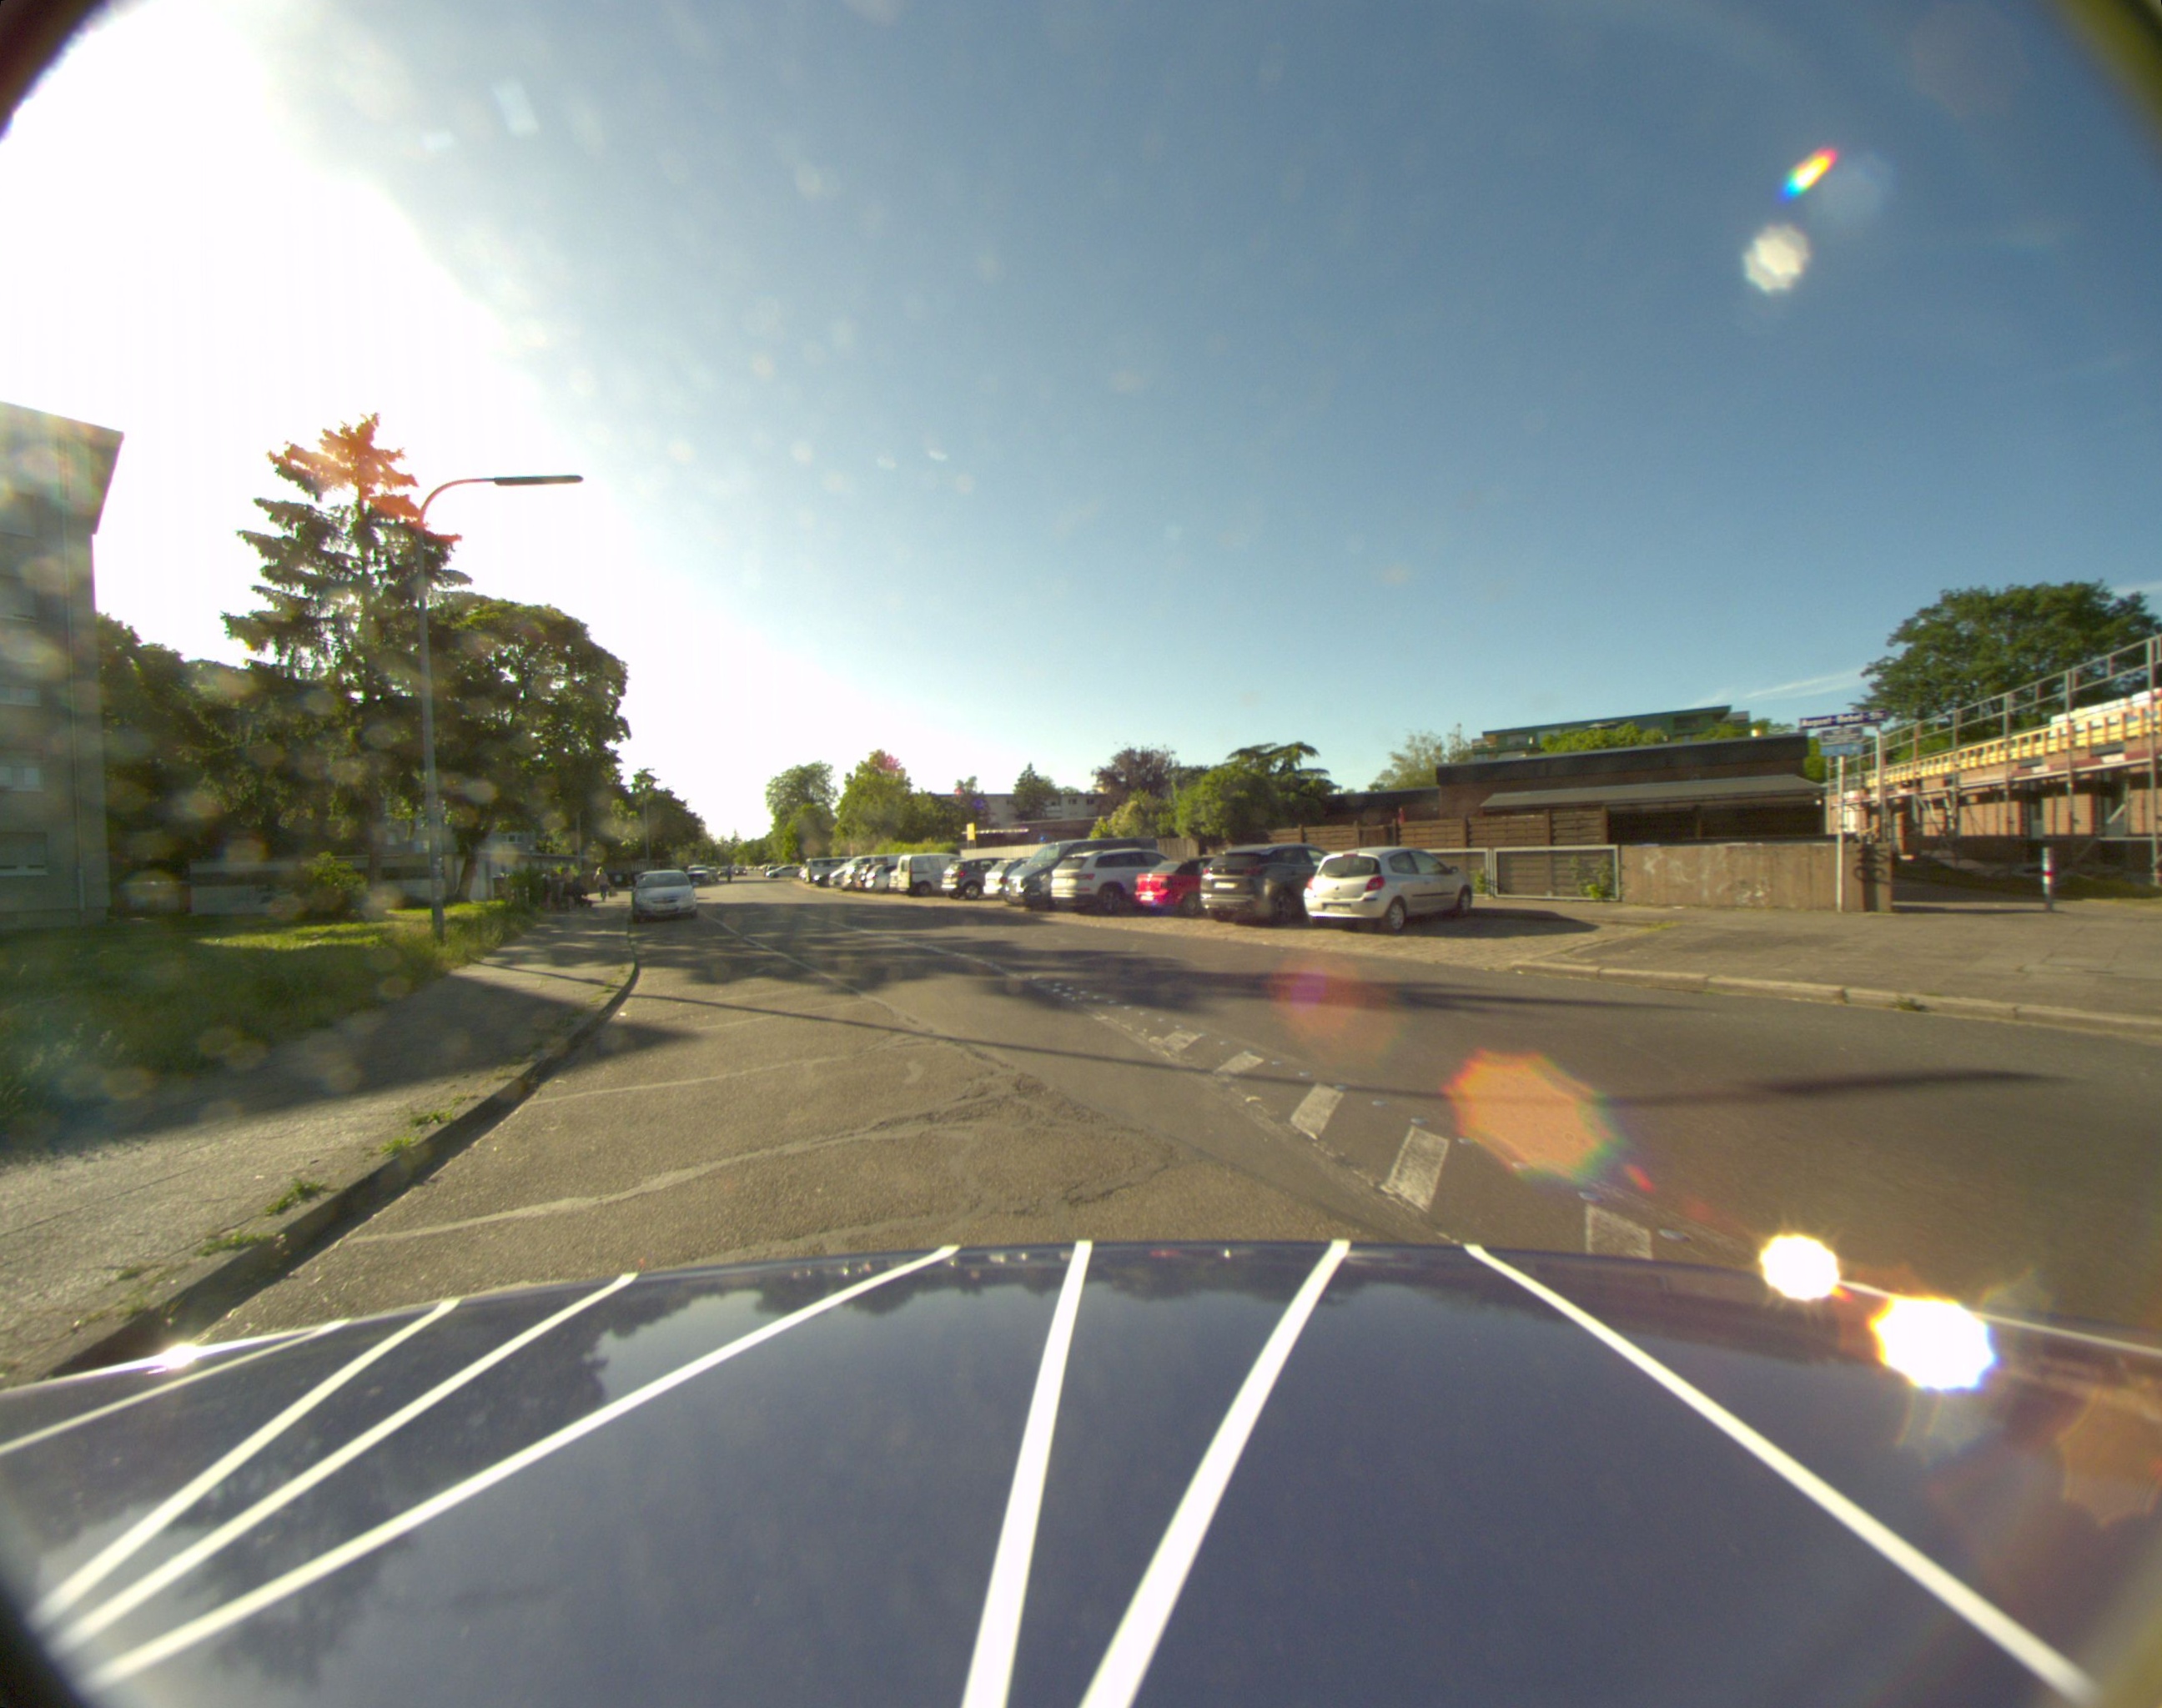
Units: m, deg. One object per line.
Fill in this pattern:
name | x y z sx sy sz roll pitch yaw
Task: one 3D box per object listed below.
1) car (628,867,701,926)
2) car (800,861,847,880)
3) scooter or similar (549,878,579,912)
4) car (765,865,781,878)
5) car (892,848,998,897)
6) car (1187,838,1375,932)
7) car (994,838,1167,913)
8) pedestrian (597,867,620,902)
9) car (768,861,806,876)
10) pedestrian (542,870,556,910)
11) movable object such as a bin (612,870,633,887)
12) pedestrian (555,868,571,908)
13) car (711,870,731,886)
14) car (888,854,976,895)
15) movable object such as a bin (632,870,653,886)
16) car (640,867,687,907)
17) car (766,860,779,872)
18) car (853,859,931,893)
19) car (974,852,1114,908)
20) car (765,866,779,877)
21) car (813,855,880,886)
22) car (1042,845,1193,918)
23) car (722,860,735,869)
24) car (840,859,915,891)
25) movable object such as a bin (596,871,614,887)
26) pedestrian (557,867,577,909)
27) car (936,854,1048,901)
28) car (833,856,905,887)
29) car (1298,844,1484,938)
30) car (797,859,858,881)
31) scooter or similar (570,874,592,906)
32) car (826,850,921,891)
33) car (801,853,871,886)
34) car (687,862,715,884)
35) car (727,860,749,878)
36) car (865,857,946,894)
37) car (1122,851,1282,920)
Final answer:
car | -12.722 1.214 23.186 1.739 1.534 3.780 -3 1 -30
car | -24.910 1.569 73.390 4.004 1.524 1.828 -4 2 -25
scooter or similar | -19.114 1.508 28.067 1.250 1.220 0.401 -1 1 31
car | -42.107 2.360 103.901 1.787 1.564 4.416 -4 0 -23
car | -5.942 0.792 33.276 3.995 1.770 1.921 -5 1 -31
car | 4.437 0.585 16.605 4.006 1.603 1.814 -5 2 -38
car | 0.056 0.575 23.040 4.895 1.904 1.995 -3 1 -34
pedestrian | -22.318 1.421 35.914 0.791 1.556 0.568 -5 2 -28
car | -35.779 1.719 92.443 4.005 1.449 1.560 -5 2 -30
pedestrian | -20.161 1.367 28.780 0.363 1.494 0.499 -1 1 -31
movable object such as a bin | -39.920 2.146 66.175 1.254 1.339 1.051 -2 2 -12
pedestrian | -20.577 1.358 30.189 0.488 1.555 0.468 -1 1 -32
car | -40.019 2.605 84.612 1.812 1.585 4.015 -5 1 -24
car | -6.882 0.898 35.198 3.529 1.481 1.723 -7 4 -30
movable object such as a bin | -38.263 2.074 66.355 1.254 1.339 1.051 -2 2 -12
car | -17.693 1.343 32.123 1.583 1.438 3.780 -3 1 -30
car | -51.187 1.965 126.045 1.913 1.930 4.503 0 -1 -23
car | -9.848 1.128 39.534 3.530 1.480 1.633 -4 0 -30
car | -1.213 0.818 25.392 4.156 1.484 1.921 -4 2 -29
car | -45.935 2.608 112.879 1.821 1.672 3.641 0 -1 -23
car | -15.910 1.094 51.712 4.167 1.696 1.881 -4 2 -17
car | 0.999 0.685 20.521 3.629 1.598 1.729 -5 2 -31
car | -58.420 1.777 126.035 1.735 1.462 3.805 -3 0 -23
car | -11.197 1.141 41.861 3.530 1.438 1.633 -5 2 -32
movable object such as a bin | -41.328 2.169 65.974 1.079 1.339 0.864 -2 2 -12
pedestrian | -19.882 1.305 29.394 0.483 1.555 0.596 -1 1 -18
car | -3.428 0.871 29.473 3.832 1.523 1.785 -3 1 -33
car | -13.146 1.079 47.089 4.004 1.574 1.880 -4 2 -24
car | 6.004 0.618 14.562 3.705 1.450 1.630 -3 1 -38
car | -20.840 1.297 62.458 4.563 1.471 1.744 -4 1 -24
scooter or similar | -20.061 1.446 30.489 0.626 1.220 0.903 -1 1 -28
car | -12.072 0.930 44.283 4.810 1.910 2.077 -5 2 -30
car | -17.541 1.050 54.405 4.498 1.966 1.996 -4 2 -25
car | -34.819 1.716 69.677 1.915 1.829 5.264 -5 1 -24
car | -32.860 1.468 72.817 1.735 1.586 3.805 -3 0 -23
car | -8.627 1.024 37.427 3.529 1.480 1.633 -4 1 -25
car | 3.042 0.720 18.967 3.629 1.336 1.729 -5 2 -31
